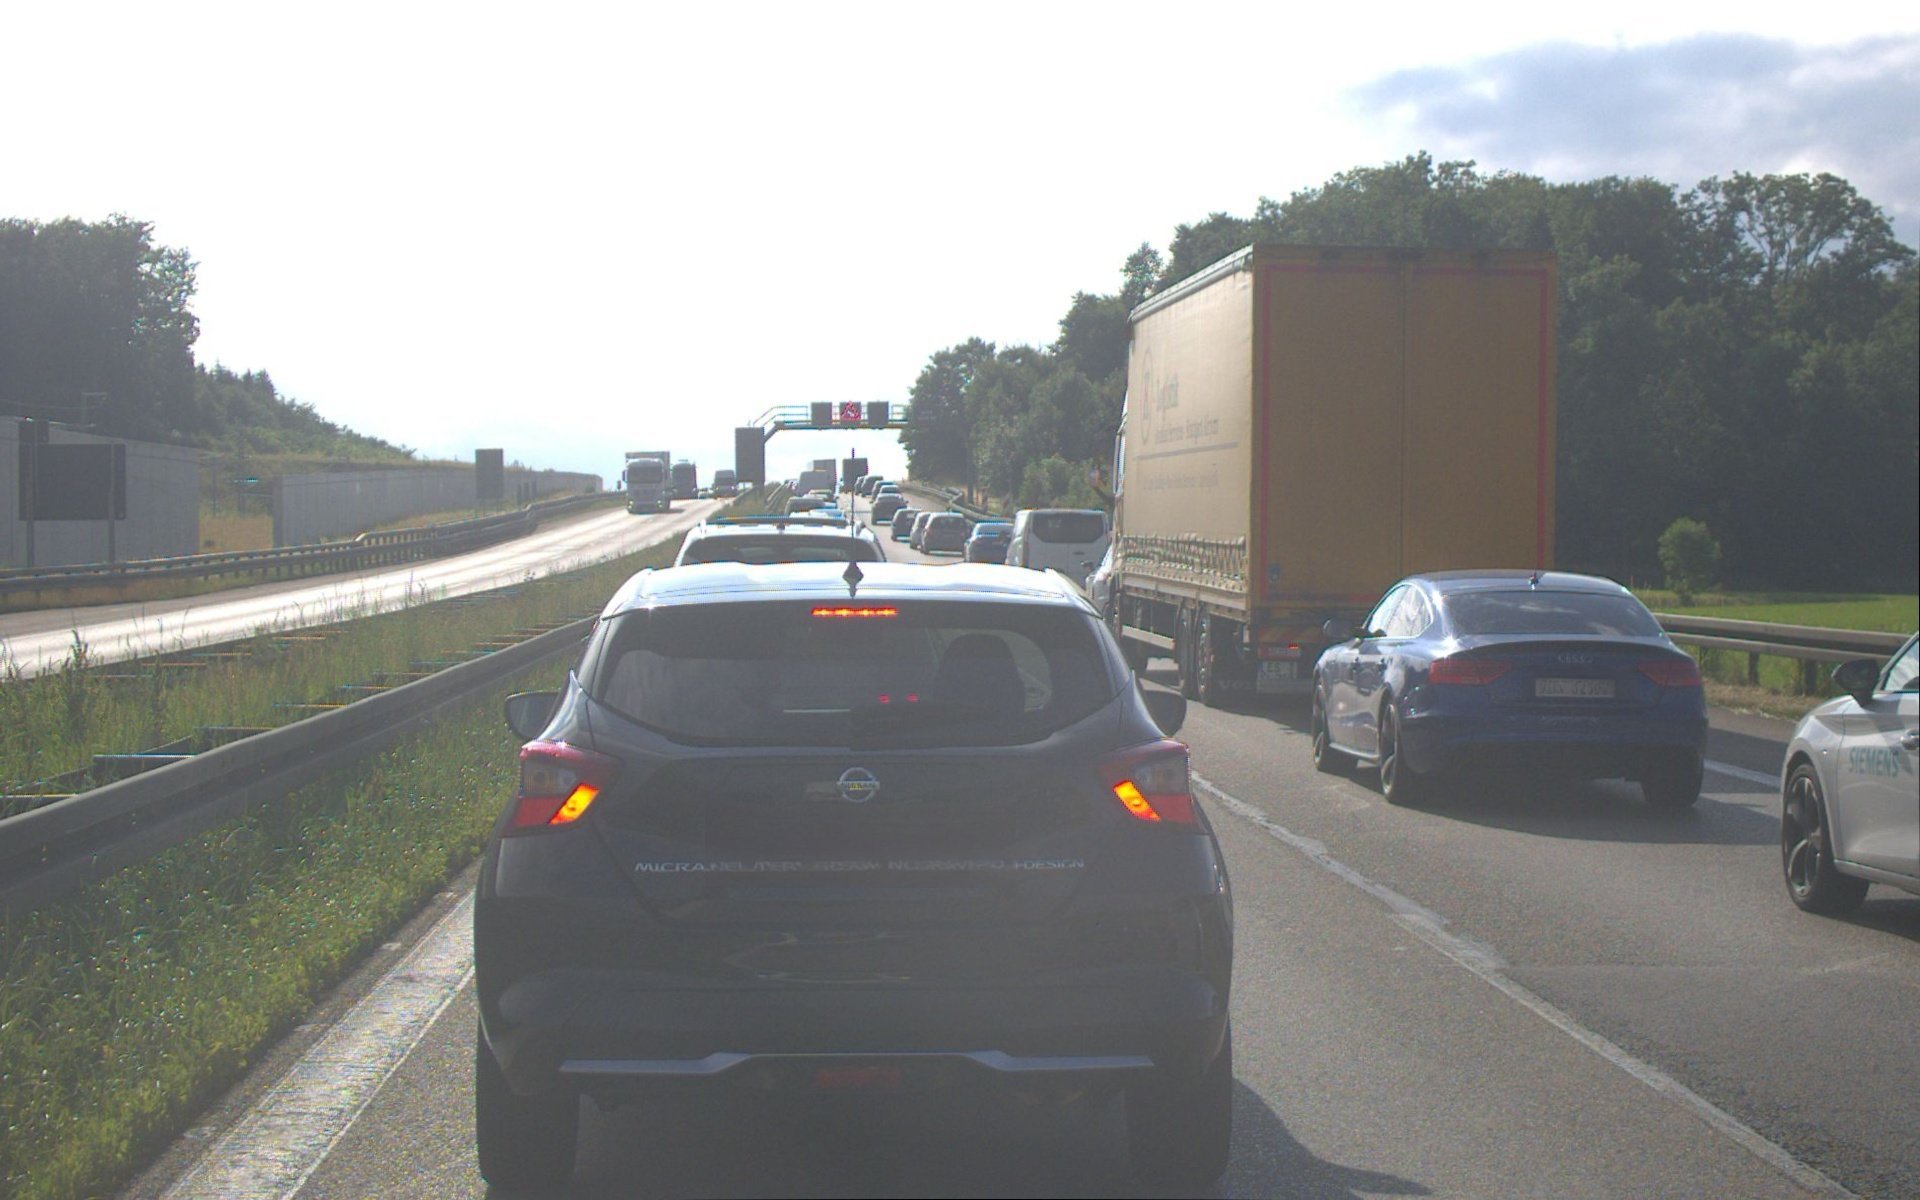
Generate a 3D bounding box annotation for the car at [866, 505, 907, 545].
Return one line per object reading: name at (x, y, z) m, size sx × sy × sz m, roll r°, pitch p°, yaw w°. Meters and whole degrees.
car at (-3.890, -3.954, 181.326) m, size 1.993 × 2.007 × 4.001 m, roll 1°, pitch 1°, yaw -3°

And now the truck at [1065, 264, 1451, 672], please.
truck at (3.335, -1.459, 40.573) m, size 3.581 × 4.364 × 6.689 m, roll 1°, pitch 1°, yaw -3°

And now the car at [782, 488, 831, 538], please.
car at (-6.378, -3.599, 142.510) m, size 1.993 × 2.007 × 4.001 m, roll 1°, pitch 1°, yaw -3°

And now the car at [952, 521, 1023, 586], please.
car at (0.855, -1.477, 109.669) m, size 1.993 × 2.007 × 4.001 m, roll 1°, pitch 1°, yaw -3°

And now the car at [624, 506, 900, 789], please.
car at (-1.256, 0.276, 22.938) m, size 1.674 × 1.720 × 3.596 m, roll 1°, pitch 0°, yaw -1°

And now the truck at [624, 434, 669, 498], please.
truck at (-21.023, -8.987, 230.889) m, size 2.637 × 4.084 × 7.003 m, roll 1°, pitch 1°, yaw -3°

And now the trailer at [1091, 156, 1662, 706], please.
trailer at (3.652, -1.439, 34.465) m, size 3.548 × 4.442 × 12.723 m, roll 1°, pitch 1°, yaw -3°

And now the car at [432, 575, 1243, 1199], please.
car at (-0.280, 0.658, 9.006) m, size 1.710 × 1.421 × 3.378 m, roll 1°, pitch 0°, yaw -1°

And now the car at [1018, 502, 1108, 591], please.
car at (2.063, -1.076, 69.714) m, size 1.667 × 1.748 × 3.327 m, roll 1°, pitch 1°, yaw -1°

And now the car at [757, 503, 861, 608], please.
car at (-3.039, -0.883, 68.812) m, size 1.993 × 2.007 × 4.001 m, roll 1°, pitch 1°, yaw -3°

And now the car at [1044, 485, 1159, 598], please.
car at (2.252, -0.930, 55.395) m, size 1.667 × 1.748 × 3.327 m, roll 1°, pitch 1°, yaw -1°

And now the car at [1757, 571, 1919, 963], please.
car at (4.354, 0.626, 12.672) m, size 1.620 × 1.440 × 4.147 m, roll 1°, pitch 0°, yaw -4°

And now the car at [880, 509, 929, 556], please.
car at (-2.443, -2.977, 151.494) m, size 1.993 × 2.007 × 4.001 m, roll 1°, pitch 1°, yaw -3°

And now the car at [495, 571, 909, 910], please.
car at (-1.092, 0.560, 15.839) m, size 1.674 × 1.362 × 3.596 m, roll 1°, pitch 0°, yaw -1°

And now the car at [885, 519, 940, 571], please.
car at (-1.896, -2.173, 136.129) m, size 1.993 × 2.007 × 4.001 m, roll 1°, pitch 1°, yaw -3°

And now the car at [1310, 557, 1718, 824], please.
car at (3.299, 0.487, 21.220) m, size 1.747 × 1.470 × 4.147 m, roll 1°, pitch 0°, yaw -1°

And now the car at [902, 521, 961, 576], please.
car at (-1.090, -1.907, 128.216) m, size 1.993 × 2.007 × 4.001 m, roll 1°, pitch 1°, yaw -3°

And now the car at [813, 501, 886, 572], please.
car at (-3.238, -1.830, 100.033) m, size 1.993 × 2.007 × 4.001 m, roll 1°, pitch 1°, yaw -3°
